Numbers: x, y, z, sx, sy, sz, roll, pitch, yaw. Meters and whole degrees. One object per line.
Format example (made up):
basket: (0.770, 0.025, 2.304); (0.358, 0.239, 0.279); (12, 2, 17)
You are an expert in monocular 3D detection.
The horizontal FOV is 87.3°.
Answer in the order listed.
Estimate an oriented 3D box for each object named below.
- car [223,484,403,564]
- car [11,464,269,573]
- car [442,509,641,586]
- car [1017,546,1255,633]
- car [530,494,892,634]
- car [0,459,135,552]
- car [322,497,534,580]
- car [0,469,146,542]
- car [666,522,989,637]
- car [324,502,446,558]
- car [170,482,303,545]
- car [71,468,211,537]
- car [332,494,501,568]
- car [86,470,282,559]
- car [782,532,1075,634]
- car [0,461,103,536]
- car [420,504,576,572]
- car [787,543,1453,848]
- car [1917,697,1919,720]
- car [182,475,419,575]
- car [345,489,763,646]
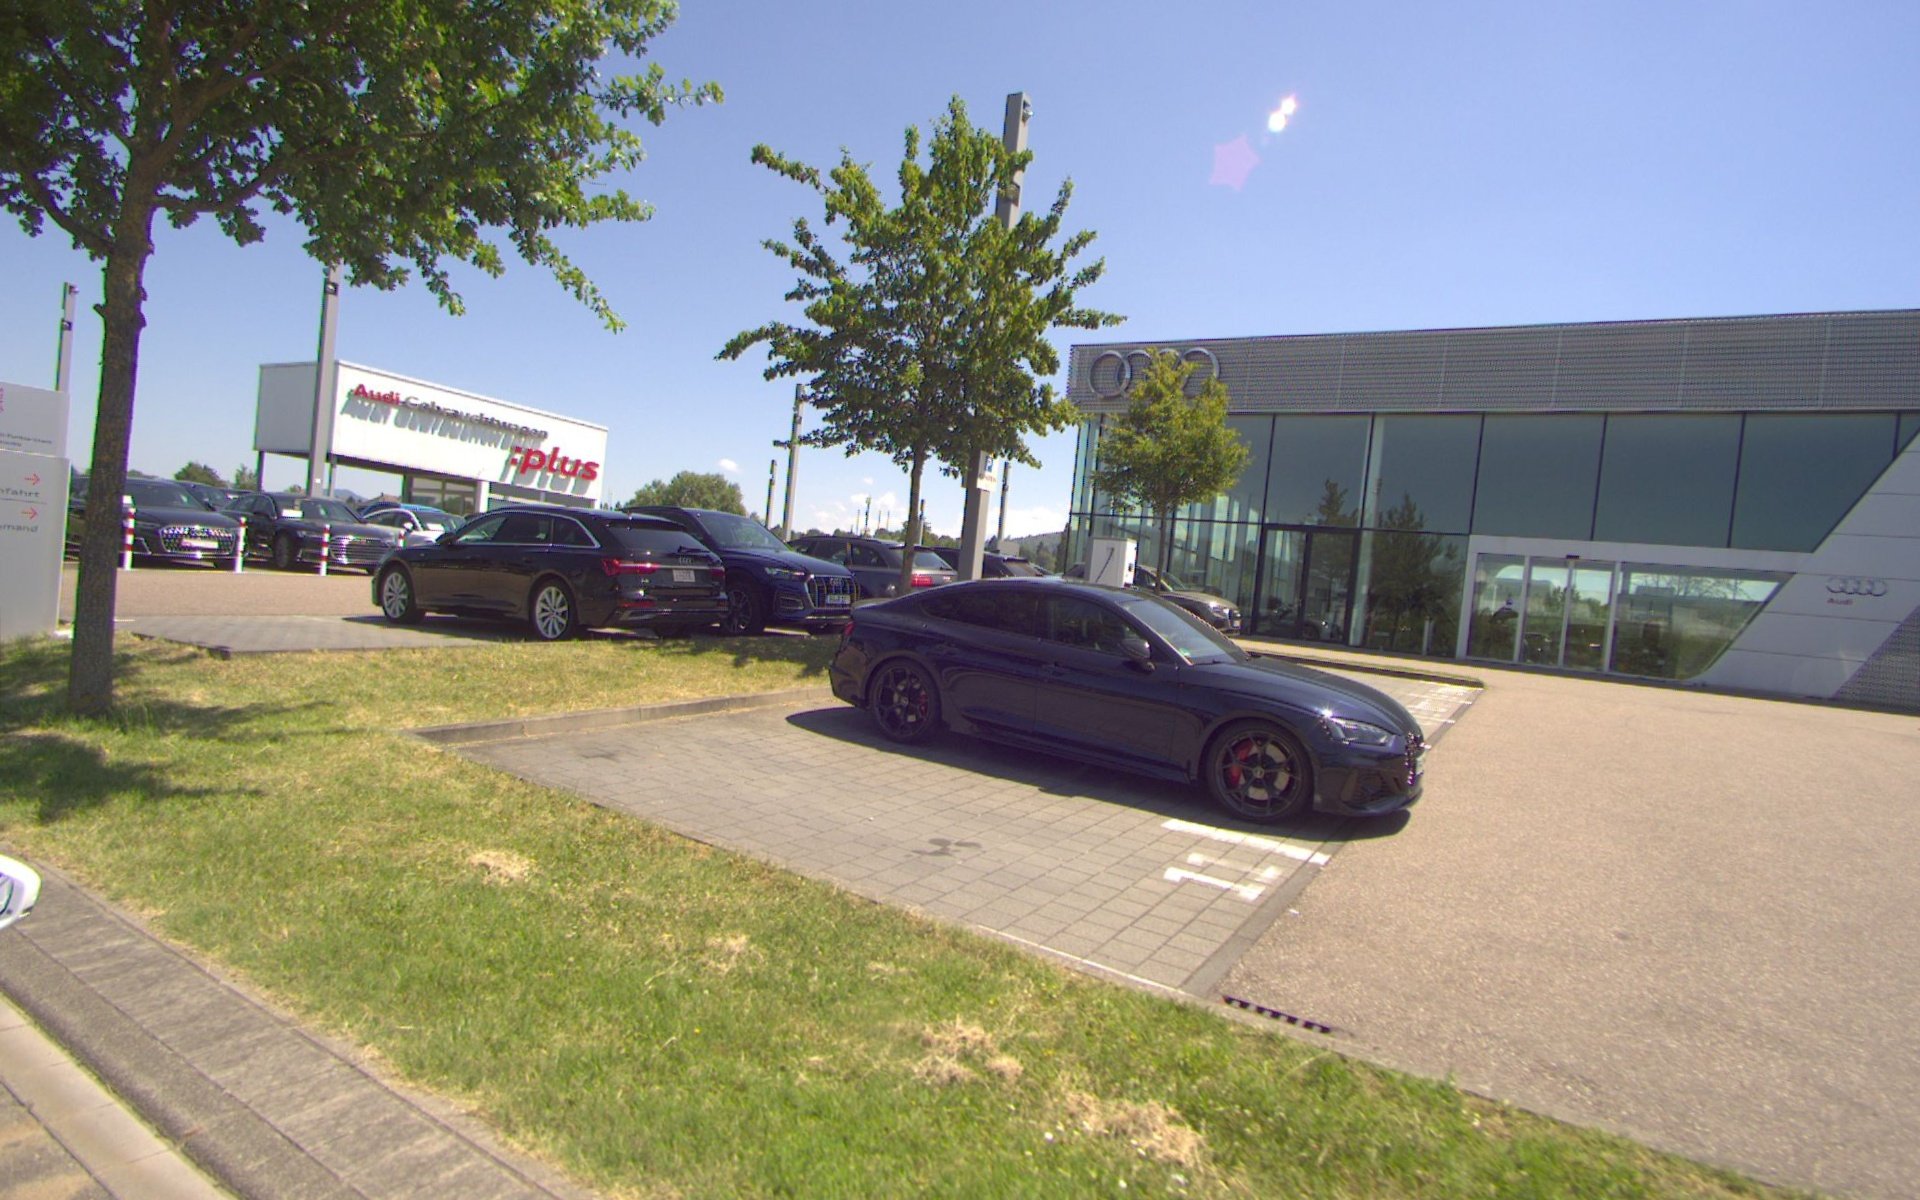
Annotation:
car: (-16.622, -1.962, 25.779); (4.700, 1.611, 2.025); (6, 2, 32)
car: (-14.749, -1.486, 18.014); (5.152, 1.536, 2.024); (6, 4, 32)
car: (-10.488, -1.322, 25.095); (4.993, 1.477, 2.024); (6, 4, 32)
car: (3.979, -0.256, 23.036); (4.904, 1.642, 1.961); (4, 1, 31)
car: (-3.554, -0.532, 14.014); (4.904, 1.619, 1.961); (4, 1, 31)
car: (-19.386, -2.021, 20.915); (4.700, 1.594, 2.025); (6, 2, 32)
car: (-12.185, -1.414, 22.949); (4.993, 1.477, 2.024); (6, 4, 32)
car: (-22.619, -2.352, 24.008); (1.997, 1.476, 4.531); (6, 2, 29)
car: (-2.191, -0.355, 16.020); (4.904, 1.476, 1.962); (4, 1, 31)
car: (-21.816, -2.664, 38.143); (4.730, 1.676, 2.024); (6, 2, 33)
car: (-24.475, -2.929, 33.974); (4.730, 1.702, 2.024); (6, 2, 33)
car: (-25.806, -3.093, 31.673); (4.730, 1.748, 2.024); (6, 2, 33)
car: (-15.219, -1.932, 28.094); (4.700, 1.611, 2.025); (6, 2, 32)
car: (-17.909, -1.979, 23.166); (4.700, 1.611, 2.025); (6, 2, 32)
car: (-0.623, -0.333, 17.974); (4.904, 1.476, 1.962); (4, 1, 31)
car: (-24.848, -2.704, 25.322); (1.997, 1.715, 4.531); (6, 2, 29)
car: (-14.126, -1.894, 30.686); (4.700, 1.611, 2.025); (6, 2, 32)
car: (1.110, 0.488, 7.841); (4.641, 1.386, 1.960); (8, 5, 31)
car: (17.250, 1.385, 14.649); (4.355, 1.614, 1.959); (7, 4, 33)
car: (-13.354, -1.543, 20.243); (5.385, 1.595, 1.895); (6, 4, 32)
car: (-4.845, -0.426, 11.759); (4.904, 1.476, 1.962); (4, 1, 31)
